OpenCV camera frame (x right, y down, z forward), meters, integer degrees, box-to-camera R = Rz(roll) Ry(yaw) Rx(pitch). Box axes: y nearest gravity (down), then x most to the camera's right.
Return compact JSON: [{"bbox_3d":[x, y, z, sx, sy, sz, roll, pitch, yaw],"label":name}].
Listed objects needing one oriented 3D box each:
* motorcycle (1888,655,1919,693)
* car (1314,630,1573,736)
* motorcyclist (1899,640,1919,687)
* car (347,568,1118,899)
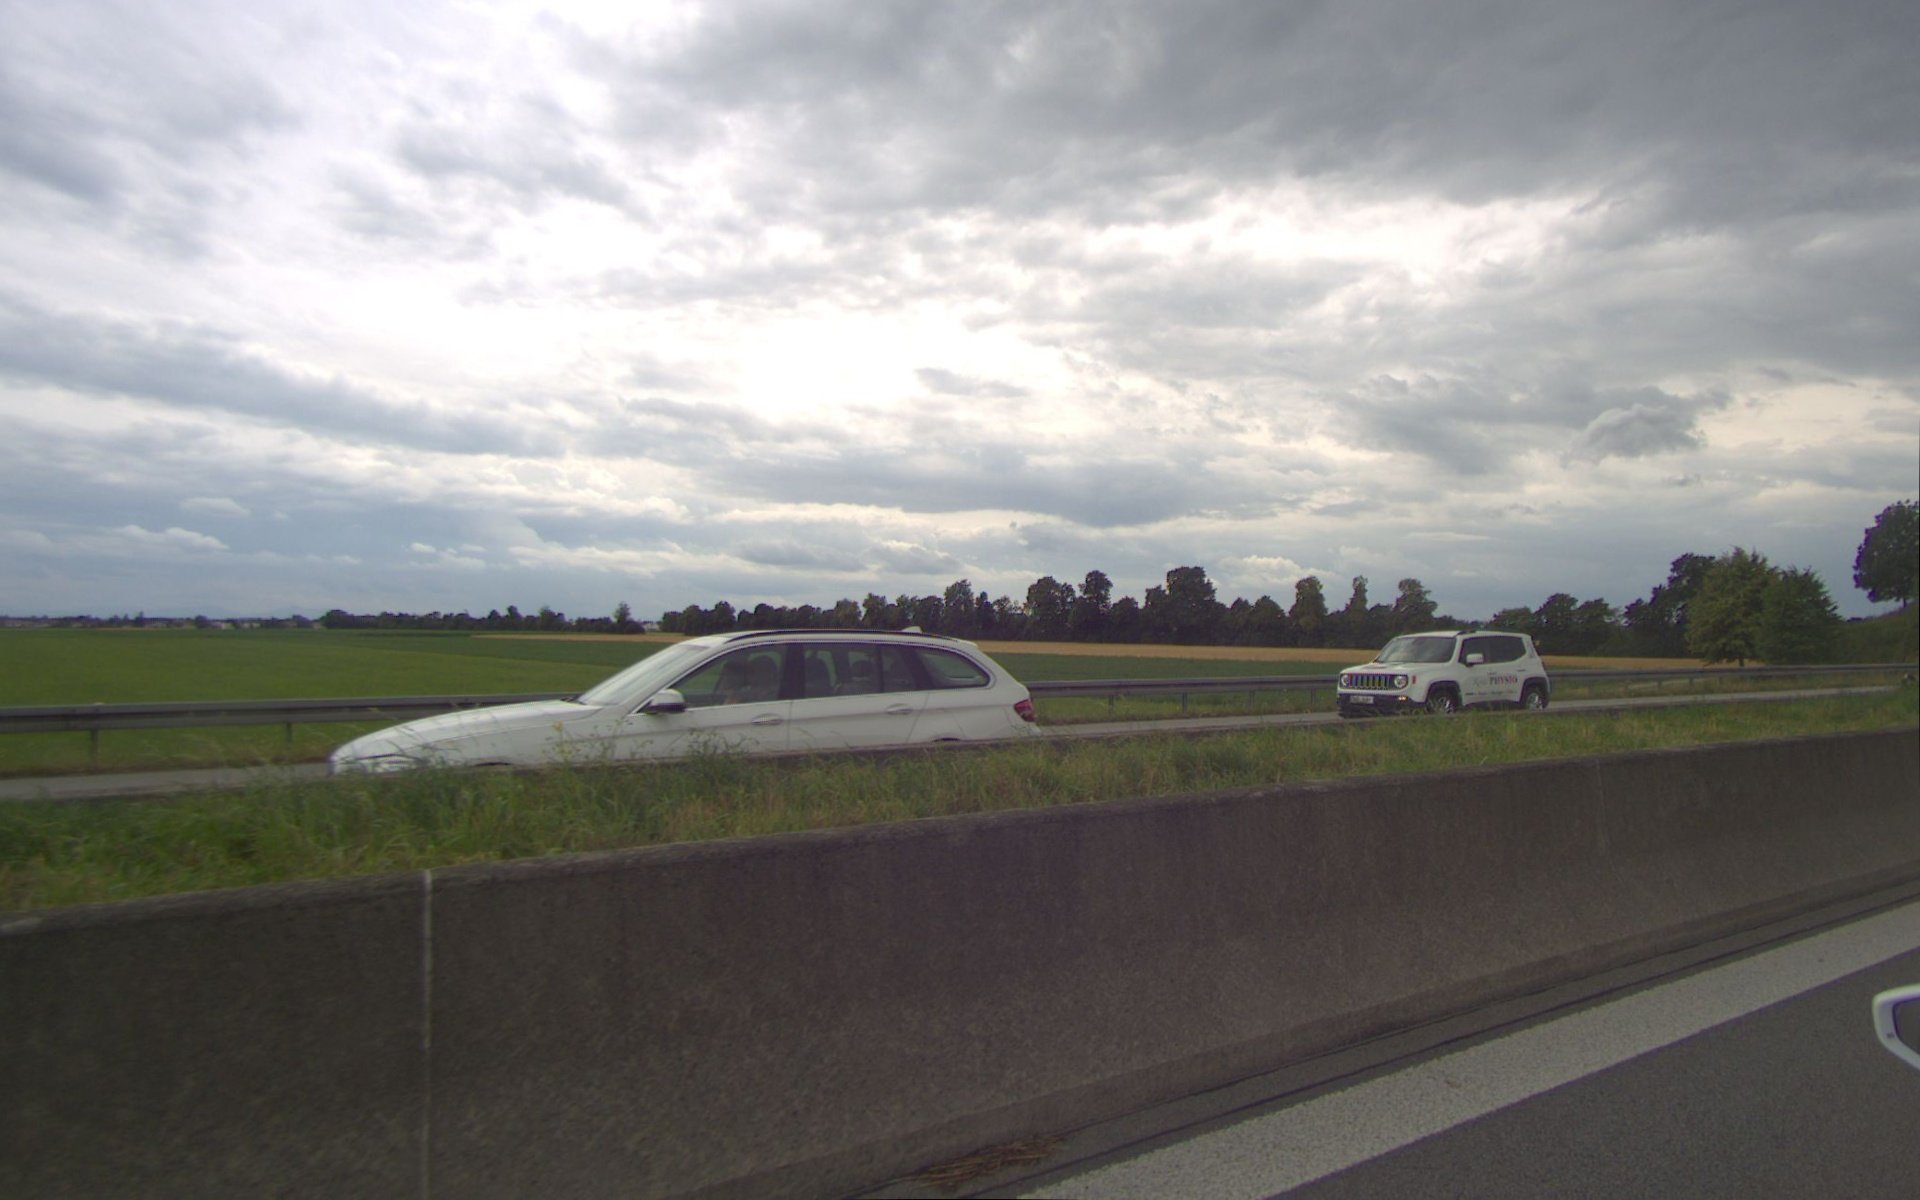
[{"bbox_3d":[28.769,2.161,29.402,2.947,1.092,1.559,2,-3,-30],"label":"motorcycle"},{"bbox_3d":[8.524,1.386,17.609,4.636,1.647,1.827,2,-3,-30],"label":"car"},{"bbox_3d":[28.789,1.857,29.423,1.238,1.389,1.559,2,-3,-30],"label":"motorcyclist"},{"bbox_3d":[-1.447,0.798,7.374,5.114,1.716,1.938,2,-3,-30],"label":"car"}]
